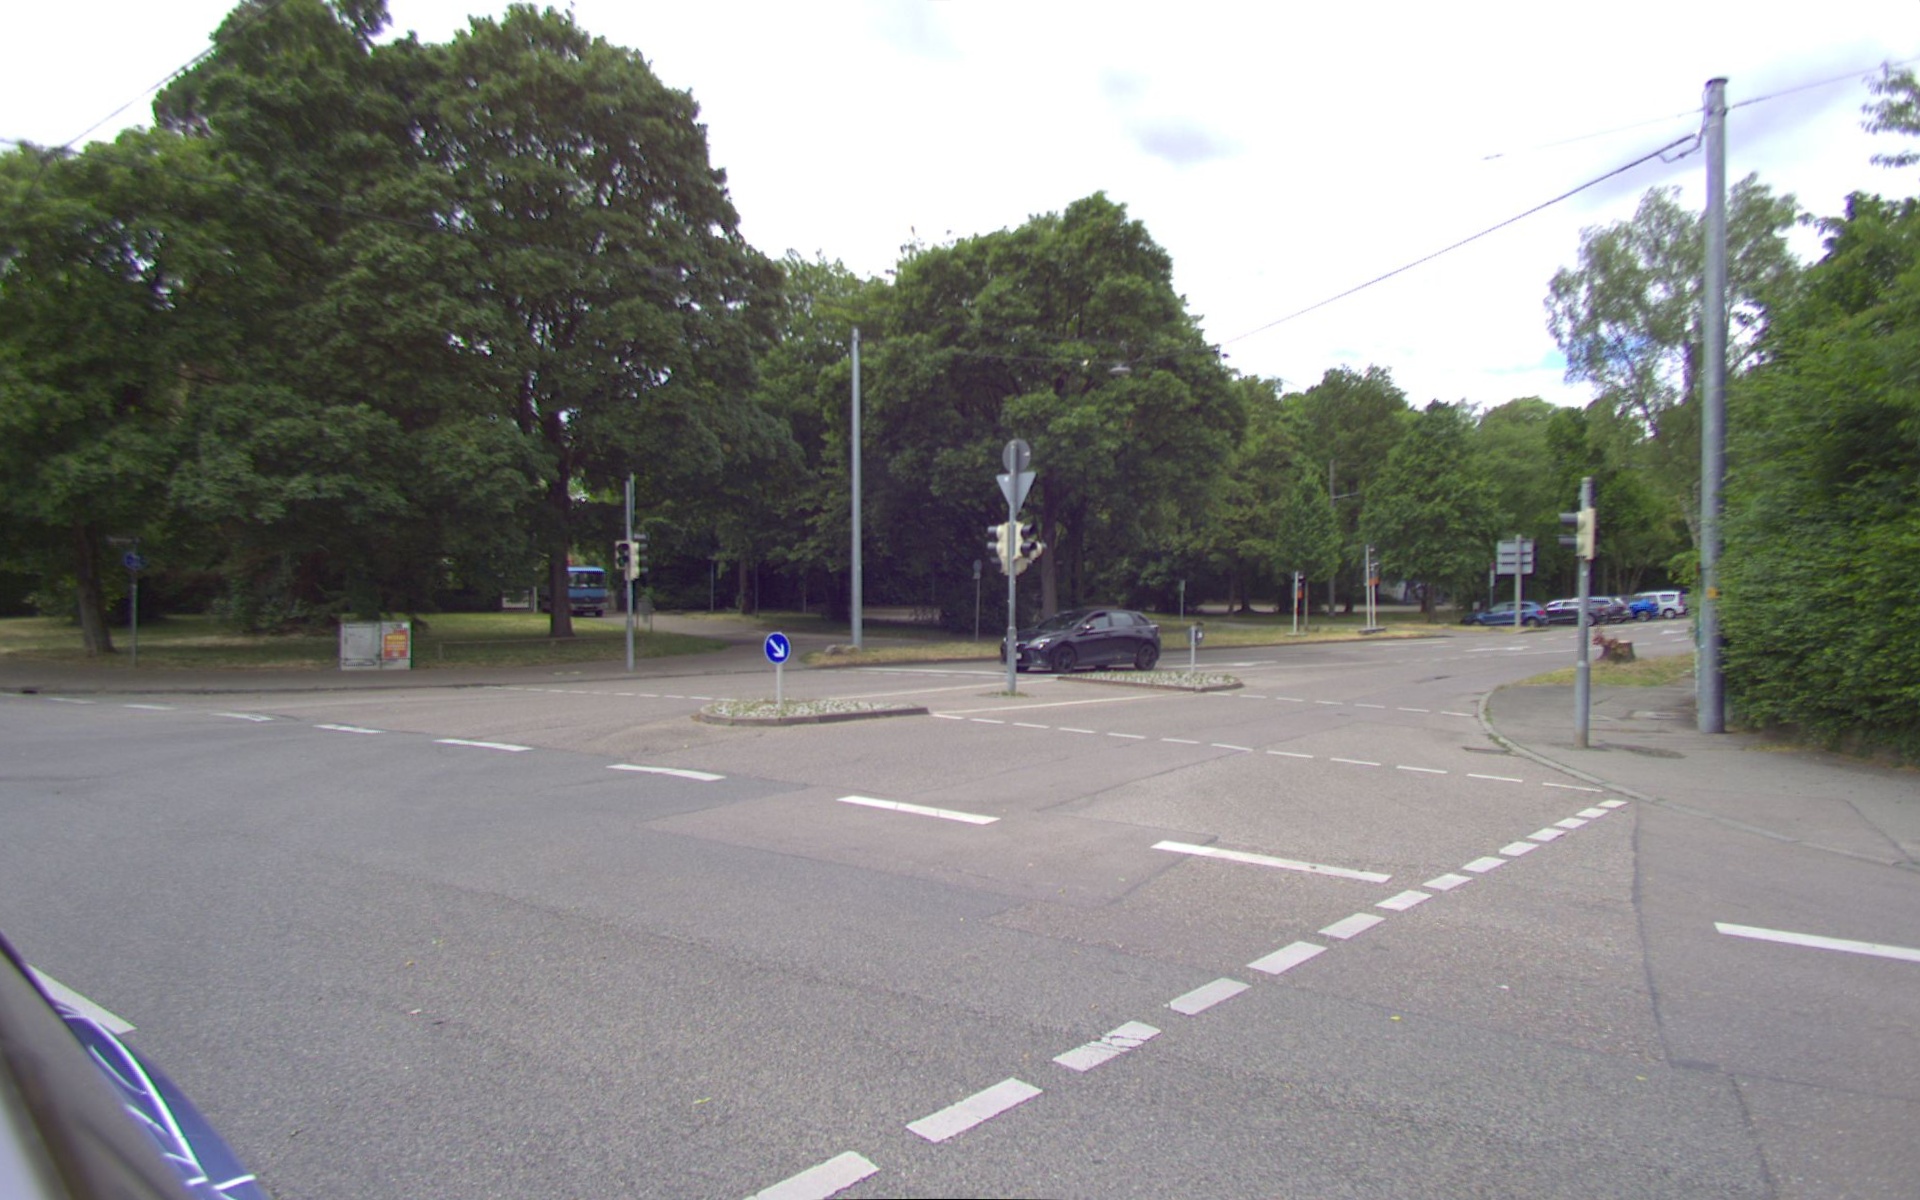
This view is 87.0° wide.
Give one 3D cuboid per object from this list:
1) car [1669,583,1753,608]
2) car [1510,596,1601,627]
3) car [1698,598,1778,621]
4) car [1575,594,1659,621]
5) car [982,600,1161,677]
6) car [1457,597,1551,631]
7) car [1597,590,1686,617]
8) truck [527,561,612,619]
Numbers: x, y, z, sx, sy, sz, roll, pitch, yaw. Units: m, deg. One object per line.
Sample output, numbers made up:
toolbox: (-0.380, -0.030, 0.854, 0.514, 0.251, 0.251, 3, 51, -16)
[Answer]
car: (50.623, -0.326, 68.246, 4.415, 1.621, 1.973, 0, 1, 40)
car: (31.710, 0.595, 53.937, 3.993, 1.497, 1.895, 1, 1, 37)
car: (56.580, 0.677, 73.674, 1.970, 1.621, 4.422, -1, 1, -44)
car: (38.009, 0.408, 58.568, 3.993, 1.497, 1.895, 1, 1, 37)
car: (2.693, 0.846, 24.185, 3.934, 1.630, 2.005, -1, 1, -35)
car: (27.338, 0.671, 50.886, 3.989, 1.497, 1.897, 1, 2, 34)
car: (41.515, 0.199, 61.790, 4.404, 1.621, 1.979, 0, 1, 32)
truck: (-20.603, -0.519, 53.085, 2.442, 2.869, 7.452, 0, 0, -35)
